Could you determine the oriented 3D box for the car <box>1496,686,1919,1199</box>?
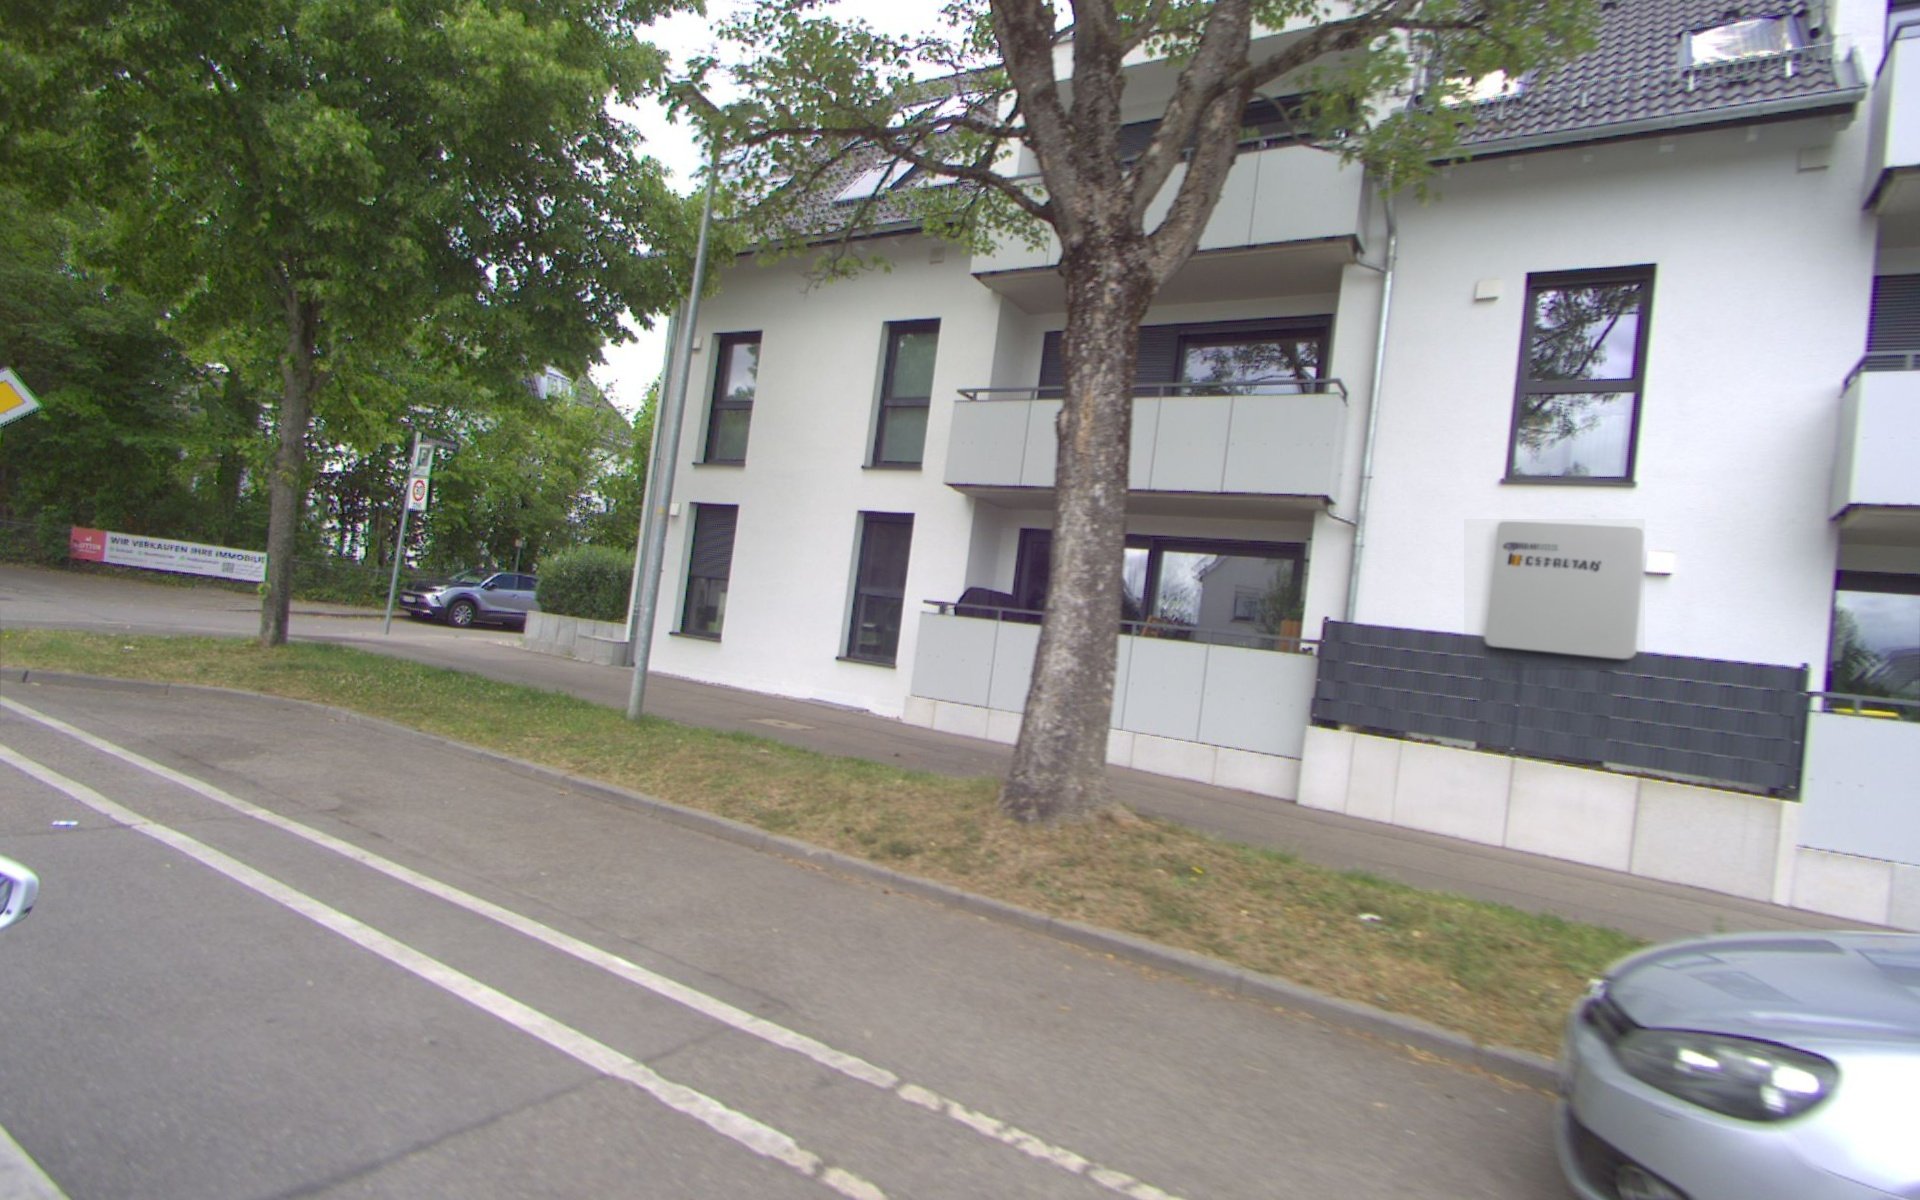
[{"bbox_3d":[3.508,1.229,2.012,4.157,1.510,1.690,6,-1,31],"label":"car"}]
